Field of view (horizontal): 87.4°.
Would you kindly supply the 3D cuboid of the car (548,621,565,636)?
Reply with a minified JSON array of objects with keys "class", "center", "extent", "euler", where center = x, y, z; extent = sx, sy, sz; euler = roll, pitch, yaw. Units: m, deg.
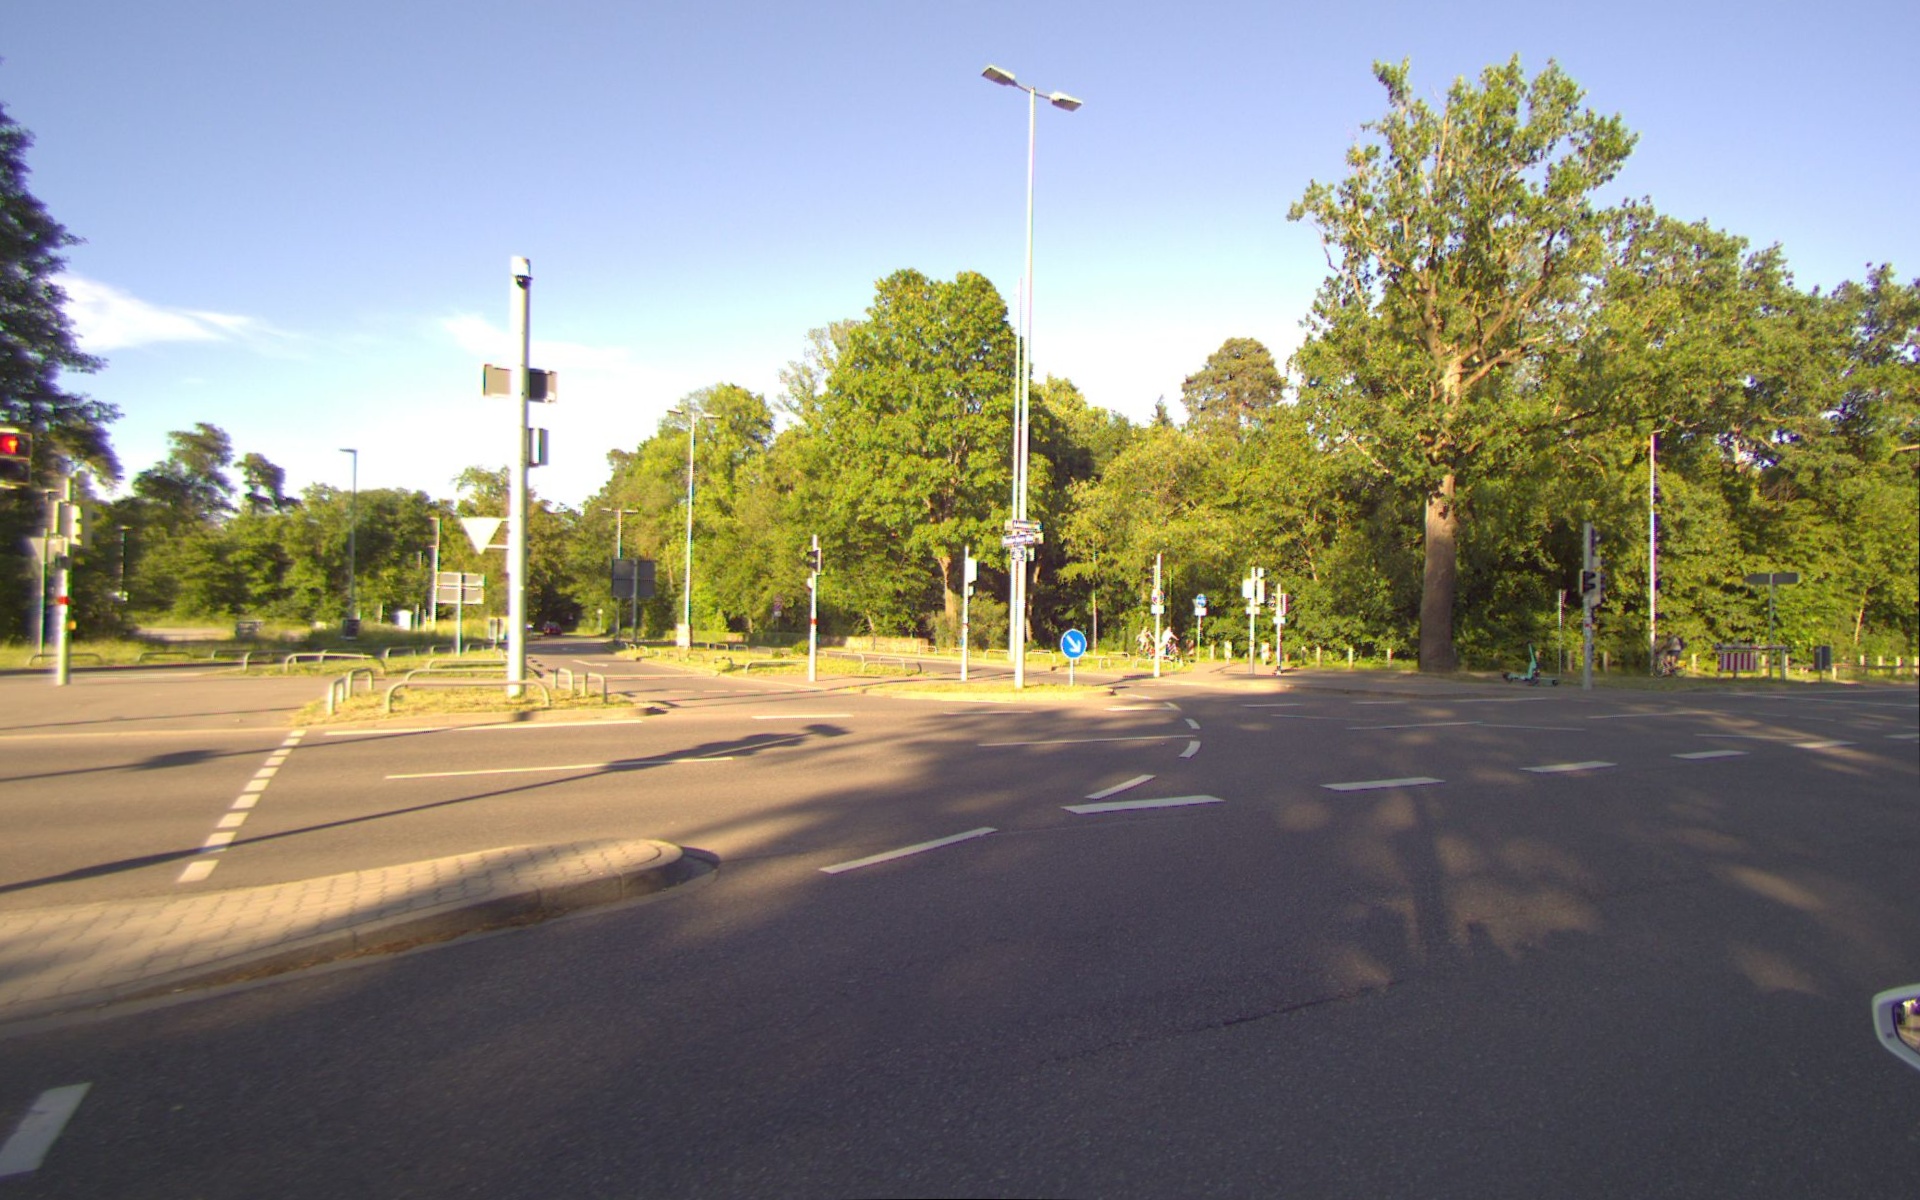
[{"class":"car","center":[-44.029,3.108,109.563],"extent":[1.633,1.530,3.977],"euler":[2,0,-23]}]

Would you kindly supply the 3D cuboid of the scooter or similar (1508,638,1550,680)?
[{"class":"scooter or similar","center":[16.377,1.694,28.917],"extent":[0.388,1.162,1.065],"euler":[1,-1,-20]}]

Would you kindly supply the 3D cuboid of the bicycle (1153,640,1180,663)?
[{"class":"bicycle","center":[9.749,2.441,47.438],"extent":[0.770,0.990,1.589],"euler":[2,0,-7]}]

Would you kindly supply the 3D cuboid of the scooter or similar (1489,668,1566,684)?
[{"class":"scooter or similar","center":[15.589,2.078,27.613],"extent":[1.241,0.344,1.405],"euler":[1,-1,-21]}]

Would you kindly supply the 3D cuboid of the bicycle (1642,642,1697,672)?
[{"class":"bicycle","center":[29.021,2.323,41.088],"extent":[1.949,1.169,0.681],"euler":[0,0,-11]}]

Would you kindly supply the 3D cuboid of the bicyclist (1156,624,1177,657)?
[{"class":"bicyclist","center":[9.759,1.926,47.521],"extent":[0.716,1.502,0.799],"euler":[2,0,-6]}]

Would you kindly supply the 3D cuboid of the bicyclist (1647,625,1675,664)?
[{"class":"bicyclist","center":[28.615,1.804,41.008],"extent":[0.786,1.572,0.563],"euler":[-1,0,-11]}]
